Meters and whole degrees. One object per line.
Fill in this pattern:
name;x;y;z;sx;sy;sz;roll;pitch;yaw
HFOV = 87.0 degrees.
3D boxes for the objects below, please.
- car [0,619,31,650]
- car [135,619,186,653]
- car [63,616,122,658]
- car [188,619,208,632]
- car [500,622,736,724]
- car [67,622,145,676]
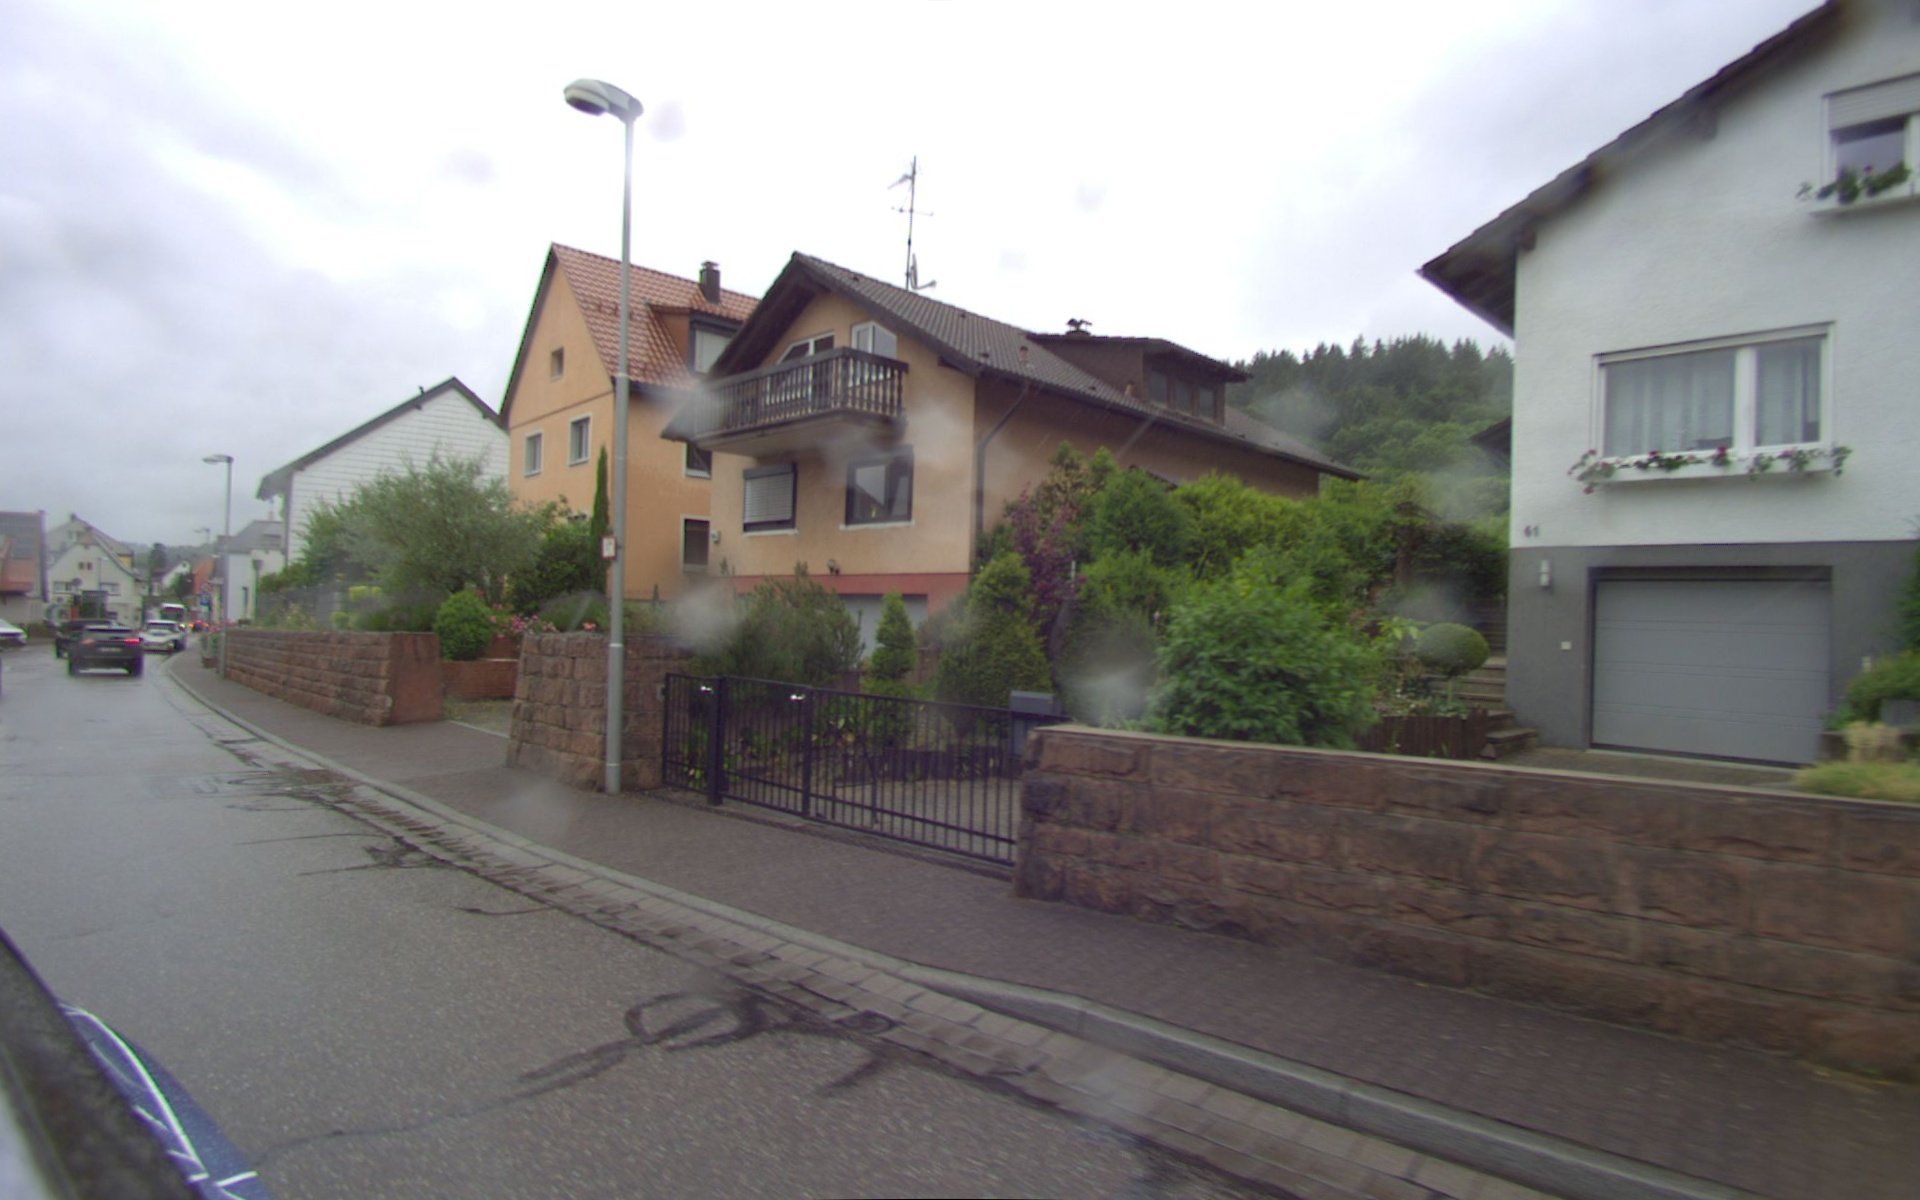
car;-52.821;1.874;55.109;3.867;1.587;1.876;-1;0;24
car;-44.012;1.964;55.773;1.787;1.697;4.195;4;-3;-34
car;-38.767;1.631;45.311;1.811;1.686;5.206;4;-3;-39
car;-95.338;3.136;126.596;1.831;1.517;4.172;4;-3;-35
car;-5.654;1.134;17.299;1.800;1.462;3.976;1;-1;18
car;-26.930;1.534;31.883;1.679;1.558;3.856;6;-5;-41
